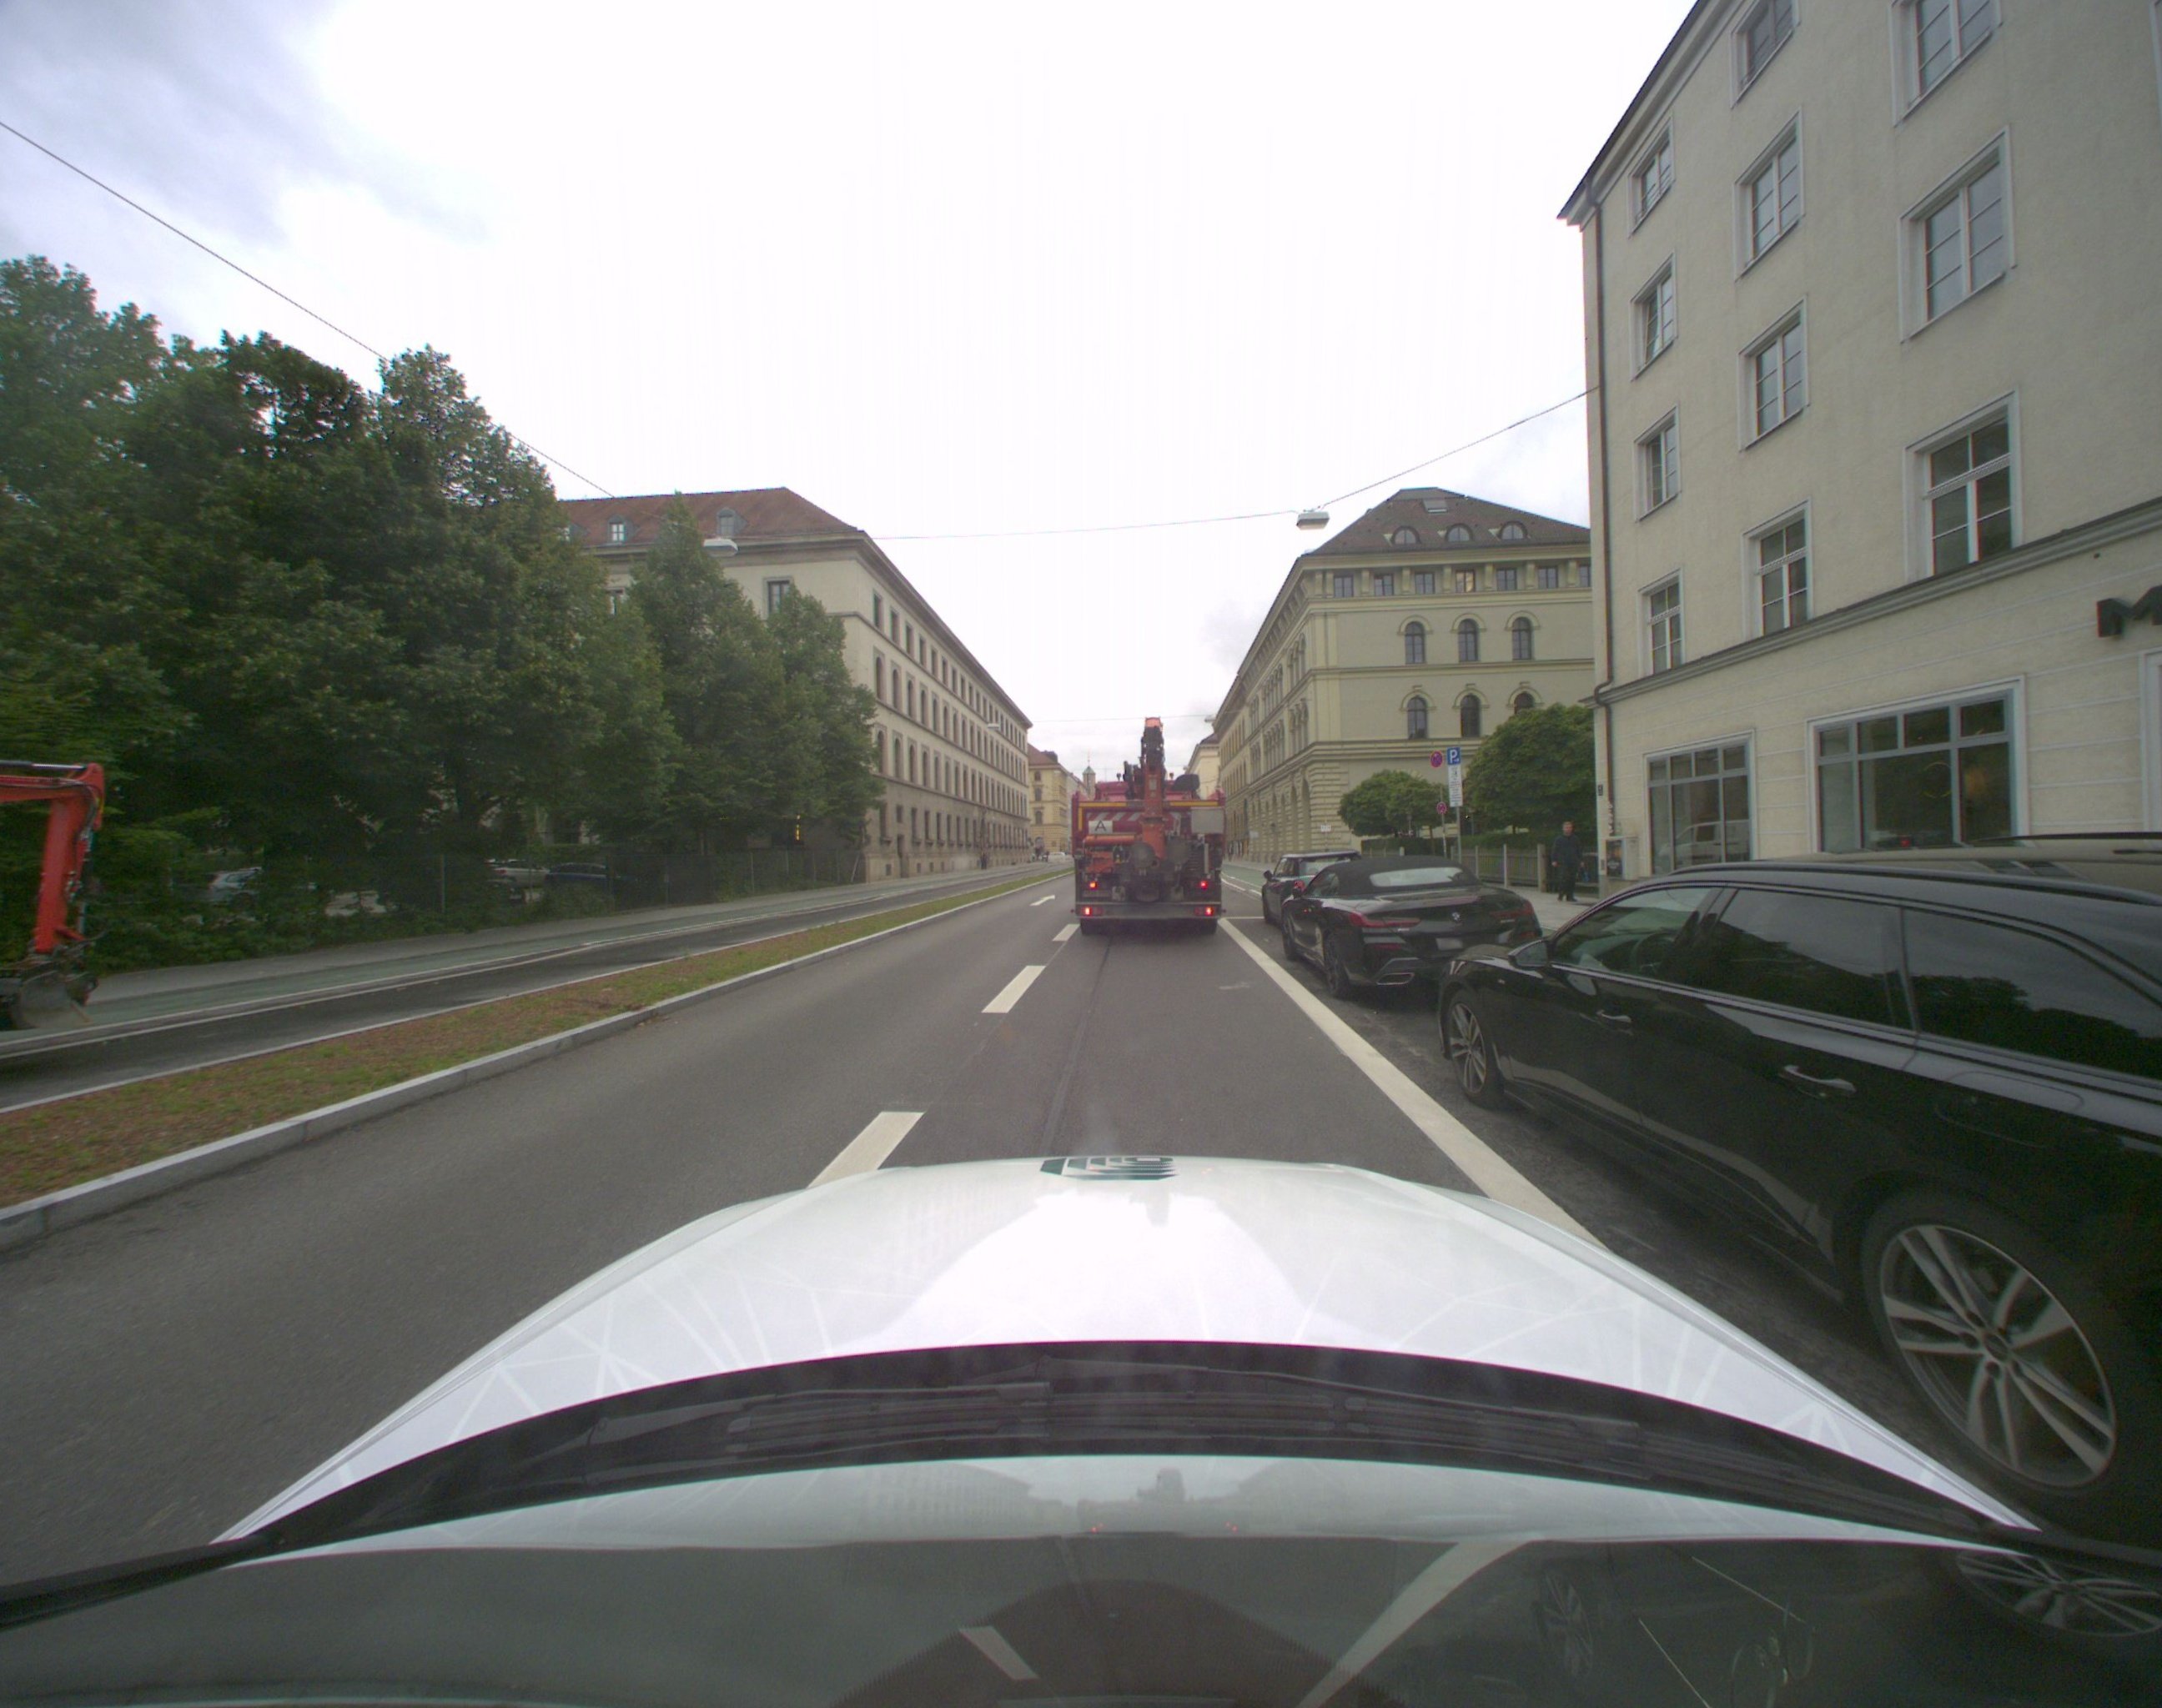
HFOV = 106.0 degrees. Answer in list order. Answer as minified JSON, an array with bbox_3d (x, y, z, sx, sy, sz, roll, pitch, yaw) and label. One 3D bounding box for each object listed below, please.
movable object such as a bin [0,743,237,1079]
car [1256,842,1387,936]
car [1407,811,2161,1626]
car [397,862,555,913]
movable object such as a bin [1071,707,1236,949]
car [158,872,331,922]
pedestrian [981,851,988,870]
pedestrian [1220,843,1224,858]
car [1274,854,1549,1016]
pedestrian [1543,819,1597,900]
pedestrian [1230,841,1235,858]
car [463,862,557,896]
[{"bbox_3d":[-9.449,0.474,6.073,1.995,2.641,4.648,-2,0,-11],"label":"movable object such as a bin"},{"bbox_3d":[4.300,0.568,15.046,1.603,1.495,3.428,-2,0,4],"label":"car"},{"bbox_3d":[2.980,0.672,3.140,1.794,1.480,4.691,1,0,3],"label":"car"},{"bbox_3d":[-20.235,1.107,27.345,3.912,1.545,1.837,-1,1,2],"label":"car"},{"bbox_3d":[1.259,-0.403,15.216,2.413,3.611,5.857,-1,0,3],"label":"movable object such as a bin"},{"bbox_3d":[-30.240,1.507,29.641,1.822,1.545,4.181,-1,1,3],"label":"car"},{"bbox_3d":[-9.495,0.658,80.167,0.586,1.831,0.499,-1,0,3],"label":"pedestrian"},{"bbox_3d":[15.655,-0.351,90.279,0.335,1.672,0.441,-2,0,5],"label":"pedestrian"},{"bbox_3d":[3.442,0.720,9.414,1.672,1.386,4.432,-1,0,4],"label":"car"},{"bbox_3d":[11.475,0.128,19.125,0.786,1.836,0.778,-2,0,5],"label":"pedestrian"},{"bbox_3d":[16.811,-0.471,90.369,0.443,1.836,0.557,-2,0,5],"label":"pedestrian"},{"bbox_3d":[-29.101,1.219,41.668,1.822,1.545,3.943,-1,1,3],"label":"car"}]
